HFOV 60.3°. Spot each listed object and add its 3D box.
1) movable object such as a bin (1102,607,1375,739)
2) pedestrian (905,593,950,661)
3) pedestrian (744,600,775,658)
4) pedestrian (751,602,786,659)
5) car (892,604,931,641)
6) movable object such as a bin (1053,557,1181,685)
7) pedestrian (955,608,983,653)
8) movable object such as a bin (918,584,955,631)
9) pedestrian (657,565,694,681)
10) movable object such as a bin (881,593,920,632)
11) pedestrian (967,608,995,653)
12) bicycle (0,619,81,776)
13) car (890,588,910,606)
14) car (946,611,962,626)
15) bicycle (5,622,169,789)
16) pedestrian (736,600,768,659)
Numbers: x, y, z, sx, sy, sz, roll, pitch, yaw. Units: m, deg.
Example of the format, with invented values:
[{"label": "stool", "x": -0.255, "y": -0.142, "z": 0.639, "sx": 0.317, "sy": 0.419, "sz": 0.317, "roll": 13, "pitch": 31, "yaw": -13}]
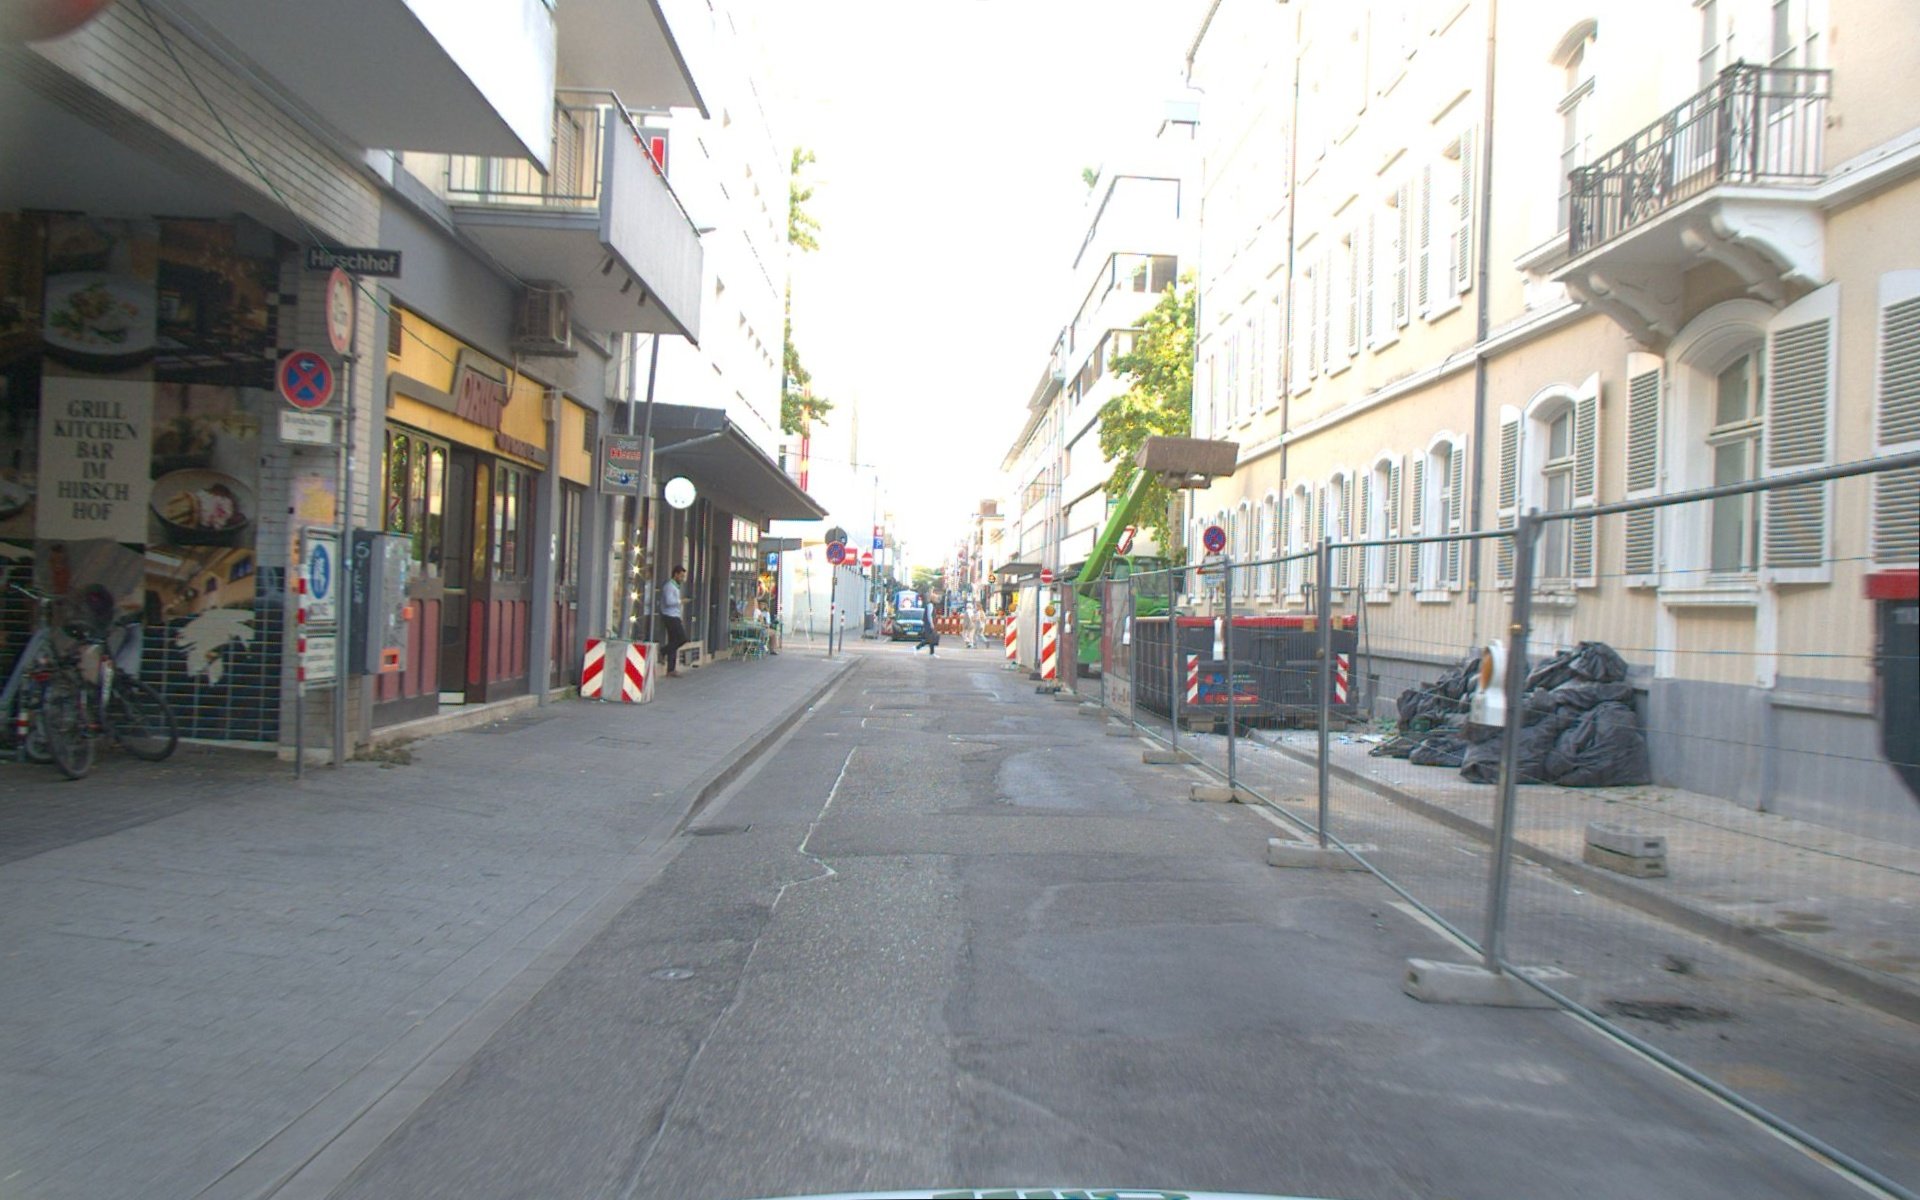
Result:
[{"label": "movable object such as a bin", "x": 4.062, "y": 1.000, "z": 25.949, "sx": 2.681, "sy": 1.667, "sz": 7.548, "roll": 2, "pitch": 0, "yaw": -2}, {"label": "pedestrian", "x": -0.909, "y": 0.747, "z": 46.315, "sx": 1.057, "sy": 1.867, "sz": 0.693, "roll": 1, "pitch": -1, "yaw": -22}, {"label": "pedestrian", "x": -4.678, "y": 0.675, "z": 38.571, "sx": 0.561, "sy": 1.297, "sz": 0.713, "roll": 4, "pitch": 0, "yaw": -1}, {"label": "pedestrian", "x": -4.571, "y": 0.729, "z": 39.574, "sx": 0.688, "sy": 1.298, "sz": 0.713, "roll": 3, "pitch": 0, "yaw": -1}, {"label": "car", "x": -2.179, "y": 0.982, "z": 73.717, "sx": 1.597, "sy": 1.578, "sz": 3.139, "roll": 1, "pitch": 0, "yaw": -5}, {"label": "movable object such as a bin", "x": 3.720, "y": 0.485, "z": 40.001, "sx": 2.552, "sy": 2.889, "sz": 4.449, "roll": 1, "pitch": 0, "yaw": -1}, {"label": "pedestrian", "x": 0.319, "y": 1.121, "z": 61.092, "sx": 0.606, "sy": 1.656, "sz": 0.860, "roll": 1, "pitch": -1, "yaw": -42}, {"label": "movable object such as a bin", "x": -1.417, "y": 0.440, "z": 99.120, "sx": 2.113, "sy": 2.710, "sz": 4.571, "roll": 2, "pitch": -1, "yaw": -2}, {"label": "pedestrian", "x": -4.659, "y": 0.369, "z": 27.116, "sx": 0.520, "sy": 1.866, "sz": 0.562, "roll": 1, "pitch": 0, "yaw": -7}, {"label": "movable object such as a bin", "x": -3.187, "y": 0.674, "z": 88.757, "sx": 1.953, "sy": 2.049, "sz": 3.999, "roll": 1, "pitch": 0, "yaw": -1}, {"label": "pedestrian", "x": 0.783, "y": 1.131, "z": 61.530, "sx": 0.606, "sy": 1.656, "sz": 0.860, "roll": 1, "pitch": -1, "yaw": -42}, {"label": "bicycle", "x": -6.453, "y": 0.646, "z": 11.107, "sx": 0.370, "sy": 0.977, "sz": 1.501, "roll": 2, "pitch": 1, "yaw": -4}, {"label": "car", "x": -6.059, "y": -0.284, "z": 168.602, "sx": 1.953, "sy": 1.808, "sz": 3.999, "roll": 1, "pitch": 0, "yaw": -1}, {"label": "car", "x": -0.724, "y": 2.371, "z": 212.931, "sx": 1.953, "sy": 1.808, "sz": 3.999, "roll": 1, "pitch": 0, "yaw": -1}, {"label": "bicycle", "x": -5.791, "y": 0.668, "z": 11.044, "sx": 0.370, "sy": 0.977, "sz": 1.501, "roll": 2, "pitch": 1, "yaw": -4}, {"label": "pedestrian", "x": -4.718, "y": 0.657, "z": 37.514, "sx": 0.561, "sy": 1.298, "sz": 0.713, "roll": 3, "pitch": 0, "yaw": -1}]
